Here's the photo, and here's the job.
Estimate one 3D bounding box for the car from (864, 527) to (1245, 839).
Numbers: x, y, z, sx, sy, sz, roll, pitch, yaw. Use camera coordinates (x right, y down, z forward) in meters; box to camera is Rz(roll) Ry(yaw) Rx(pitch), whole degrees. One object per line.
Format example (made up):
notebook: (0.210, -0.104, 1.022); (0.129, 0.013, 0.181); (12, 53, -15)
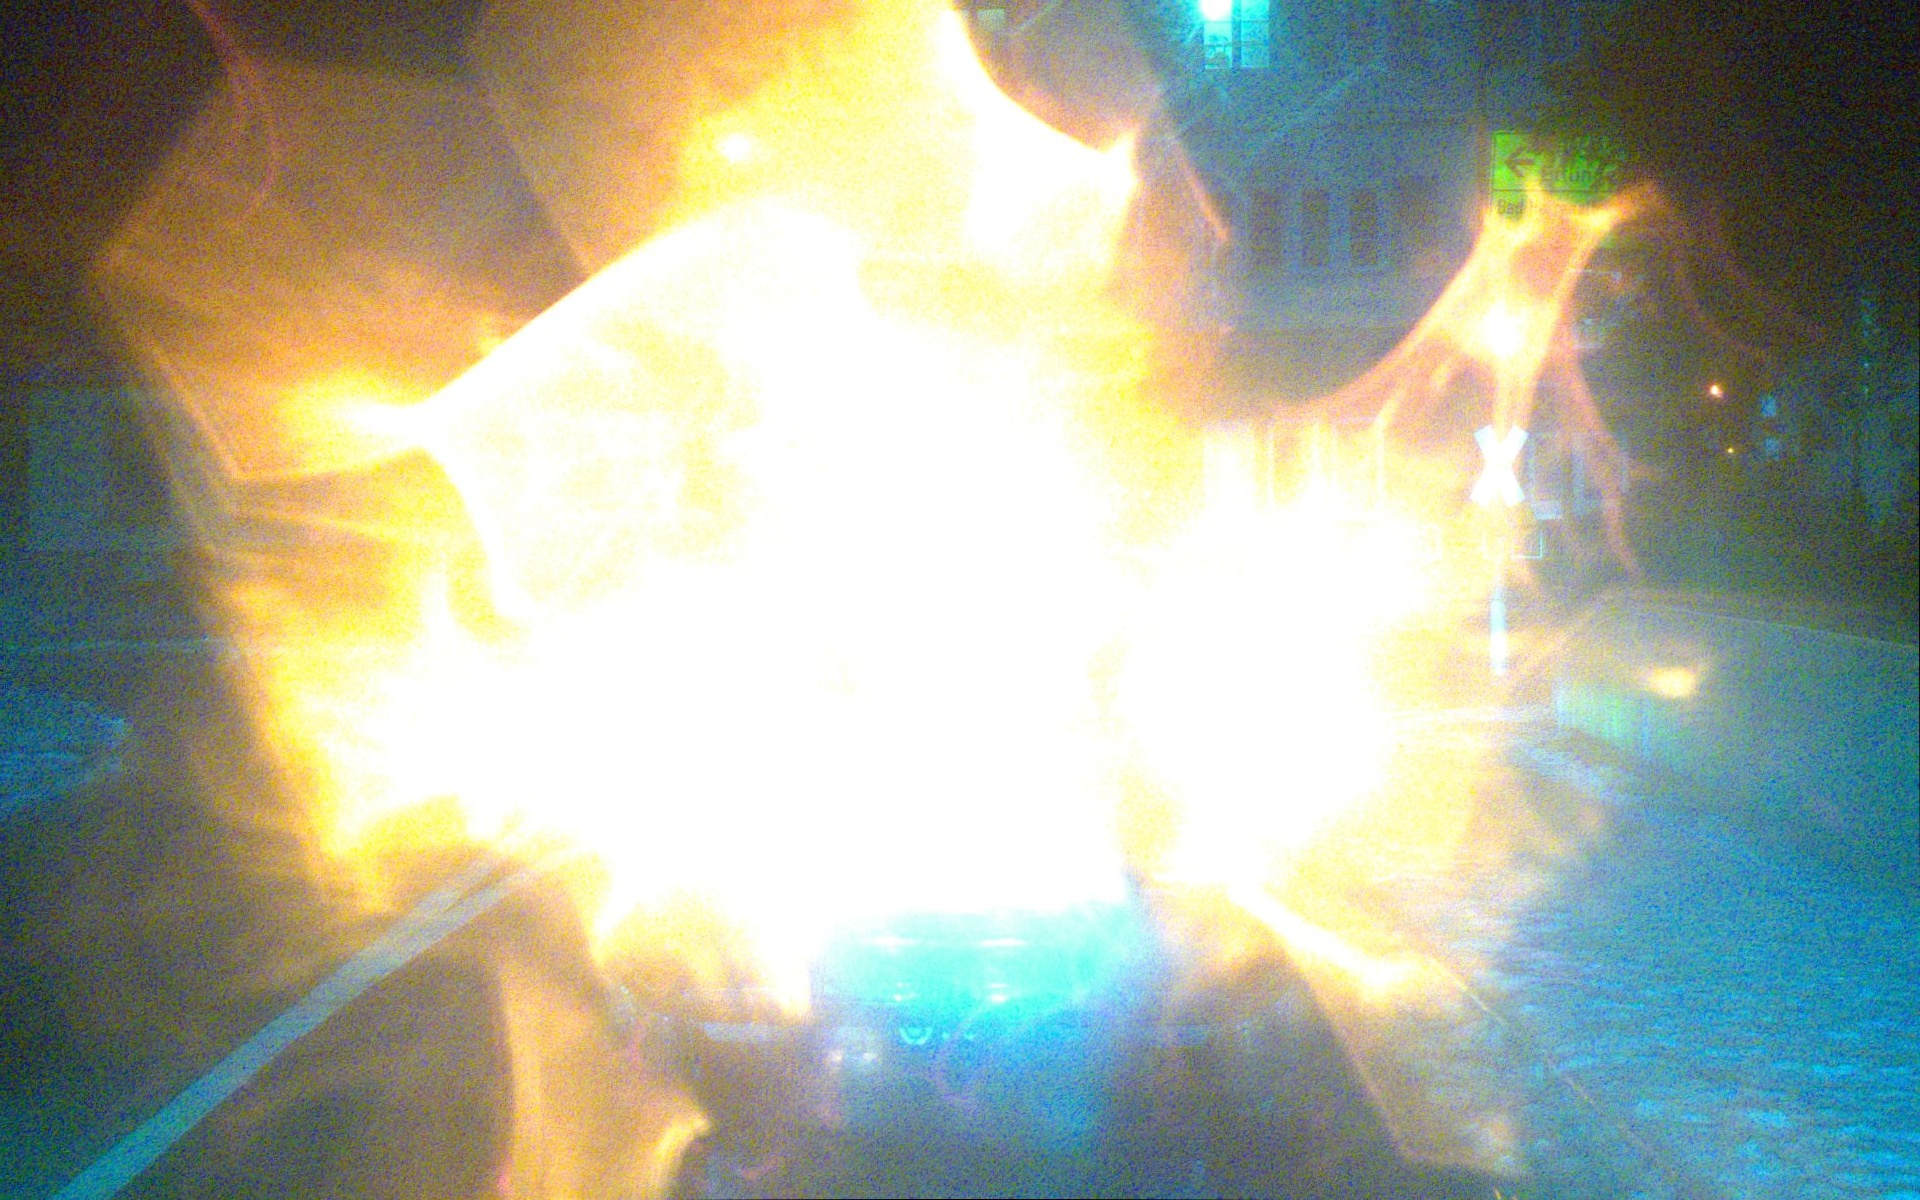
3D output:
car: (0.559, 0.341, 17.766); (1.744, 1.410, 4.000); (0, 1, 4)

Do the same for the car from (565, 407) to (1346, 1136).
car: (0.040, 0.337, 9.863); (1.791, 1.675, 3.904); (0, 2, 2)
